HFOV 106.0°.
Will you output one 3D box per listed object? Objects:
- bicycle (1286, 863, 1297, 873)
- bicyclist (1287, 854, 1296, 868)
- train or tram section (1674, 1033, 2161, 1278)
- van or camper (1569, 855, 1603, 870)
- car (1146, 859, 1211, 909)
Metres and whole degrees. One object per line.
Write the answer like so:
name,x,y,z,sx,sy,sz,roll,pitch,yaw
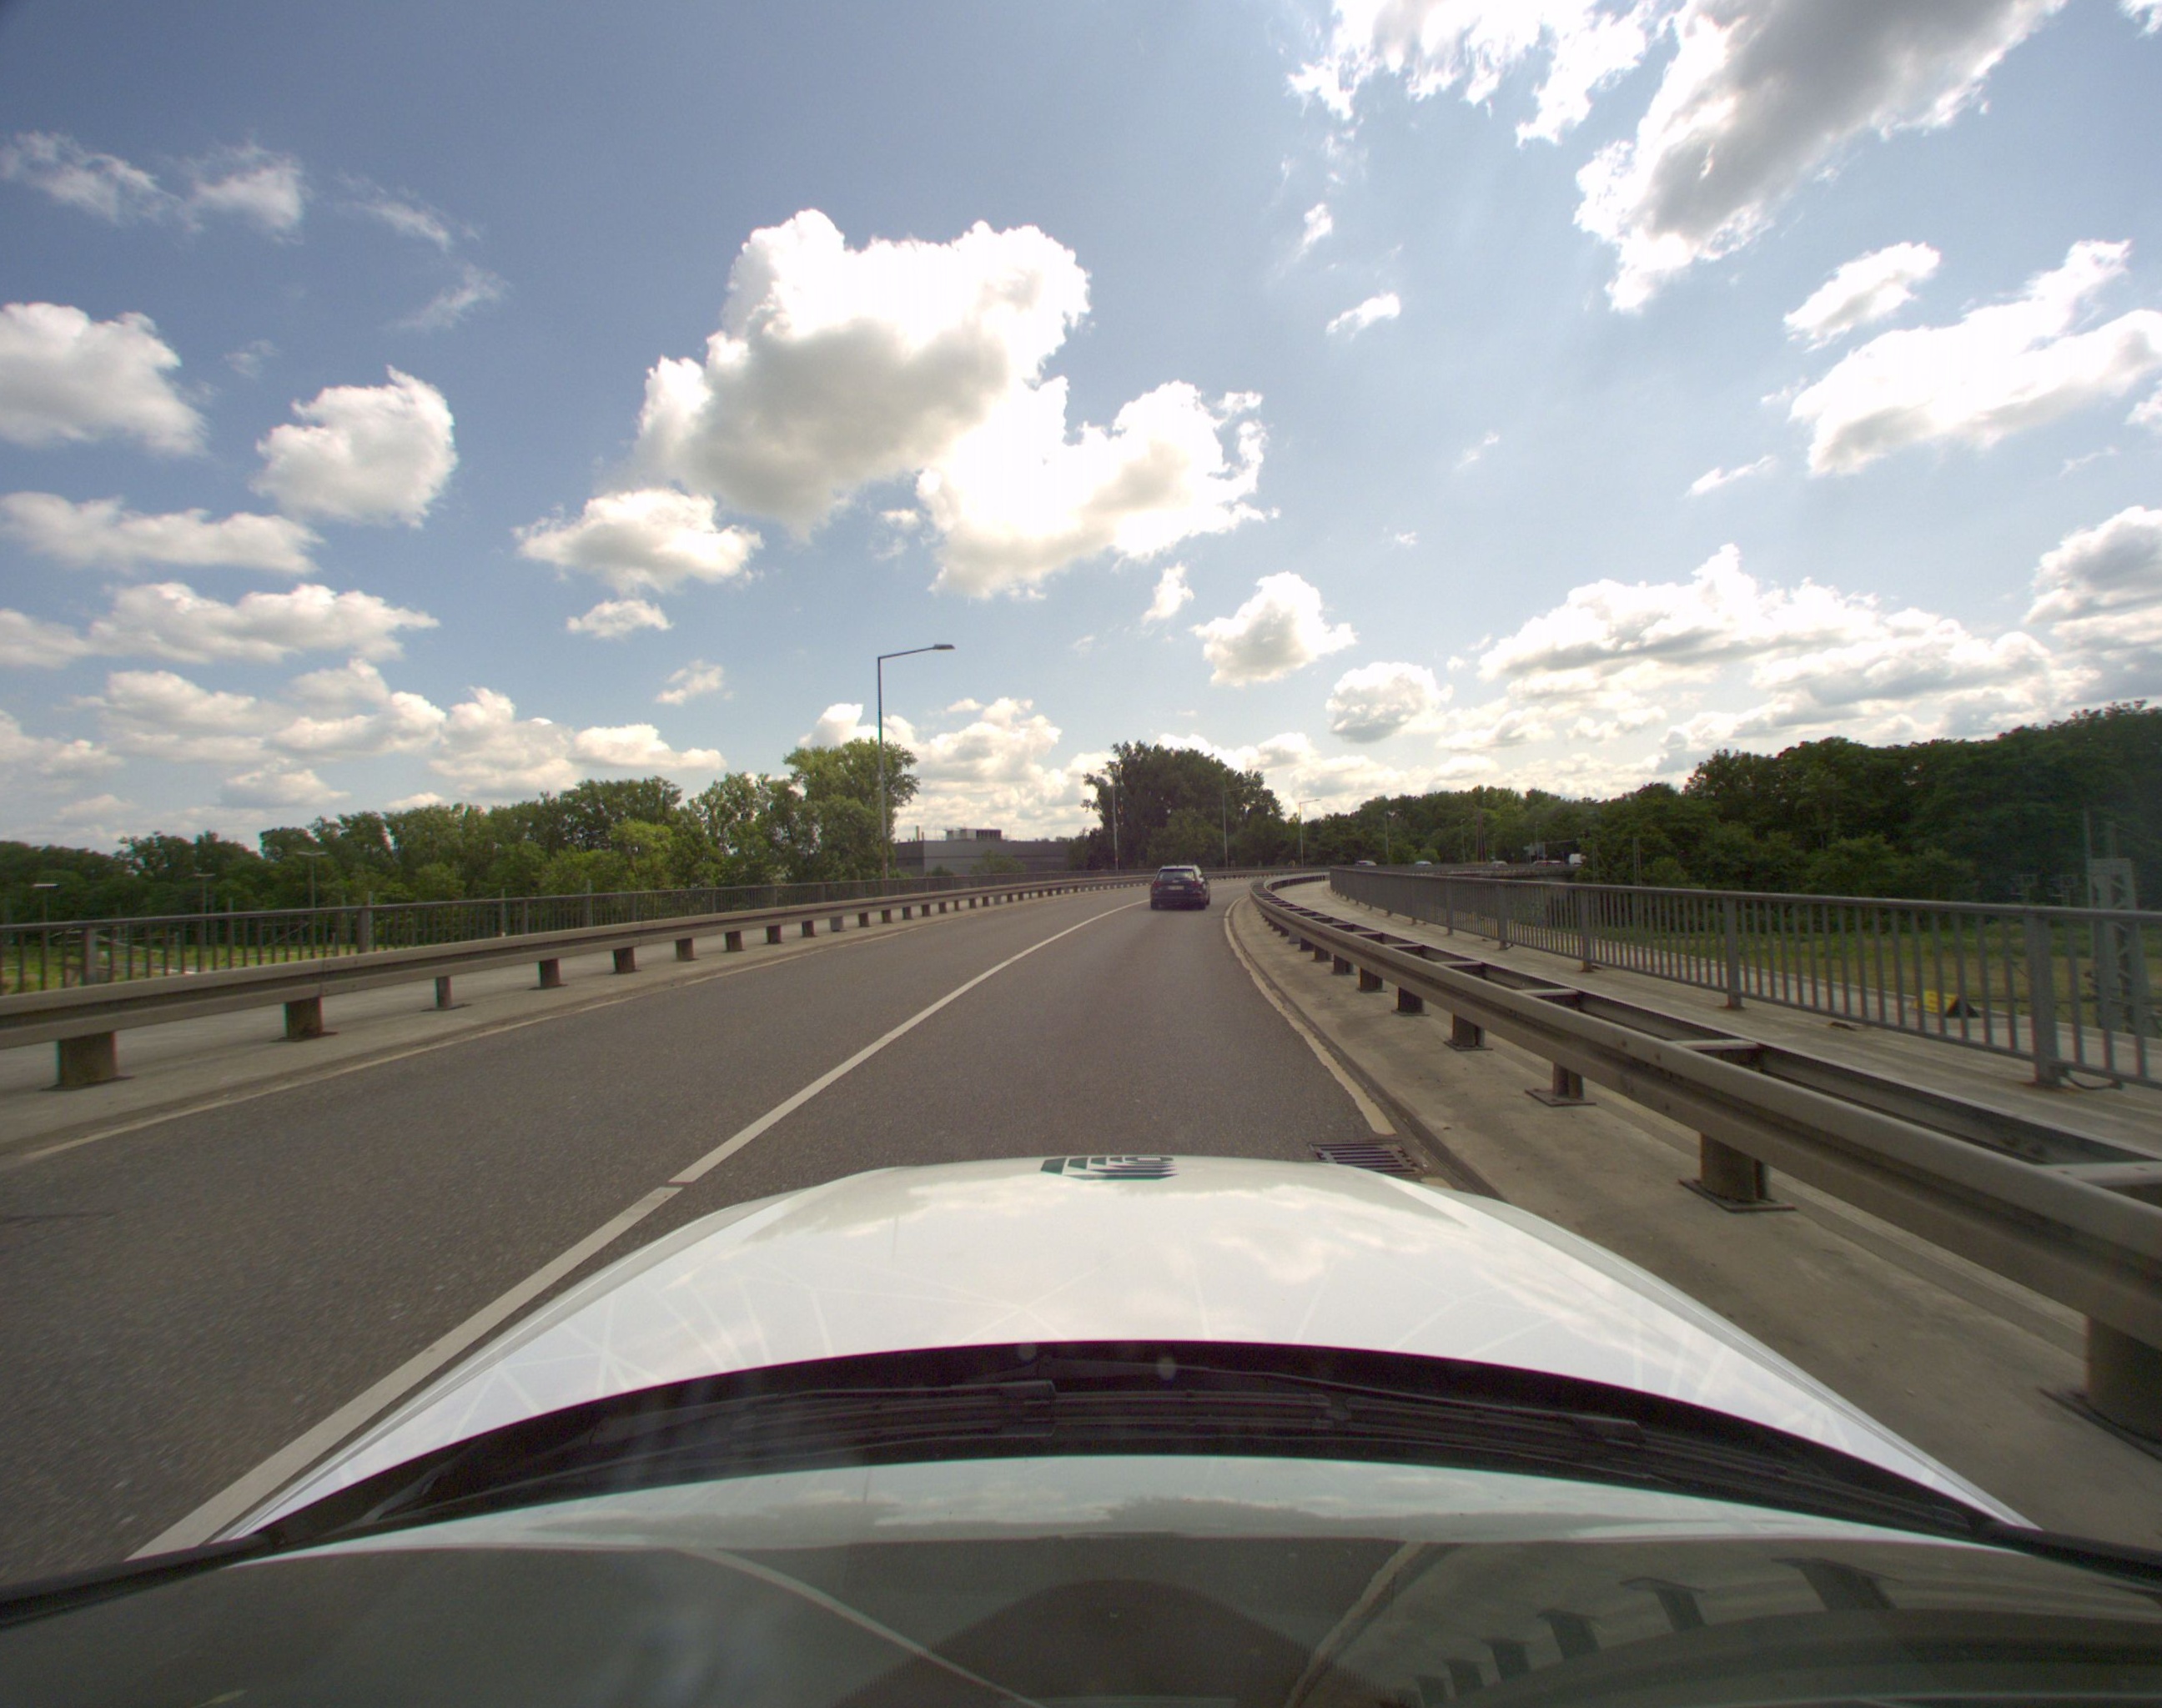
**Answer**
bicycle,23.710,1.581,91.795,0.761,1.095,2.128,-2,-2,26
bicyclist,23.781,0.827,91.977,0.760,1.602,0.953,-2,-2,26
train or tram section,22.911,6.783,18.425,14.850,4.154,3.147,-3,-5,26
van or camper,81.814,1.328,131.963,5.251,2.341,2.260,0,0,-27
car,3.358,0.951,27.537,1.816,1.491,4.220,0,0,12
